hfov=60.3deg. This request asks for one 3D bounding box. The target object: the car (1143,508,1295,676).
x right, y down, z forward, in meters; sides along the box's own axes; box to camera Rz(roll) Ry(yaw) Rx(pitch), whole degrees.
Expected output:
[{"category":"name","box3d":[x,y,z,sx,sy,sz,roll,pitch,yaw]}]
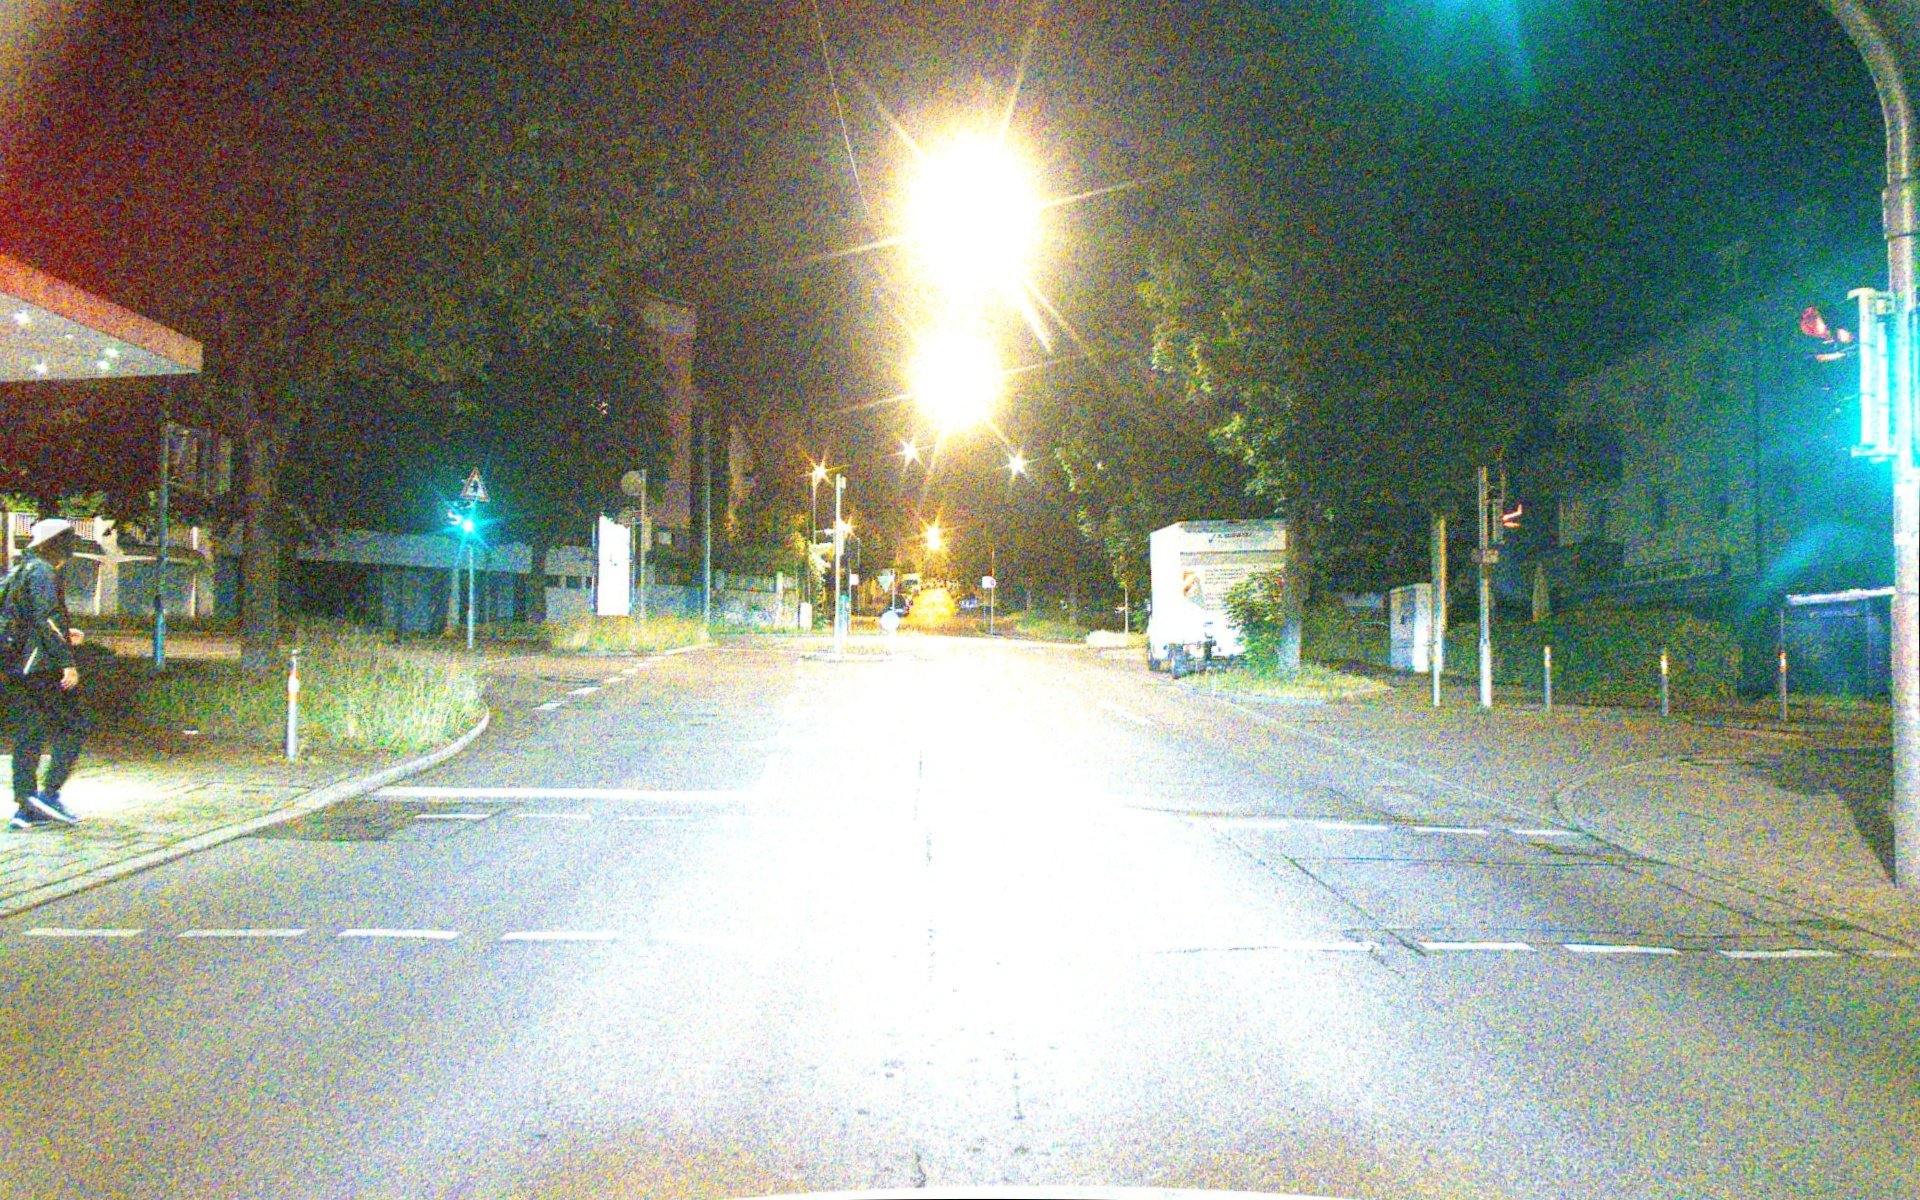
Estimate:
[{"category":"car","box3d":[5.250,-0.147,34.379,2.249,3.147,5.840,-1,0,1]}]

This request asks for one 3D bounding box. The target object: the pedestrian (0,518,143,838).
[{"category":"pedestrian","box3d":[-5.353,0.443,9.812,0.558,1.808,0.737,3,-1,-1]}]

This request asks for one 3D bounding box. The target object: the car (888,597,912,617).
[{"category":"car","box3d":[-4.836,0.545,134.281,1.869,1.585,3.903,1,0,-1]}]
